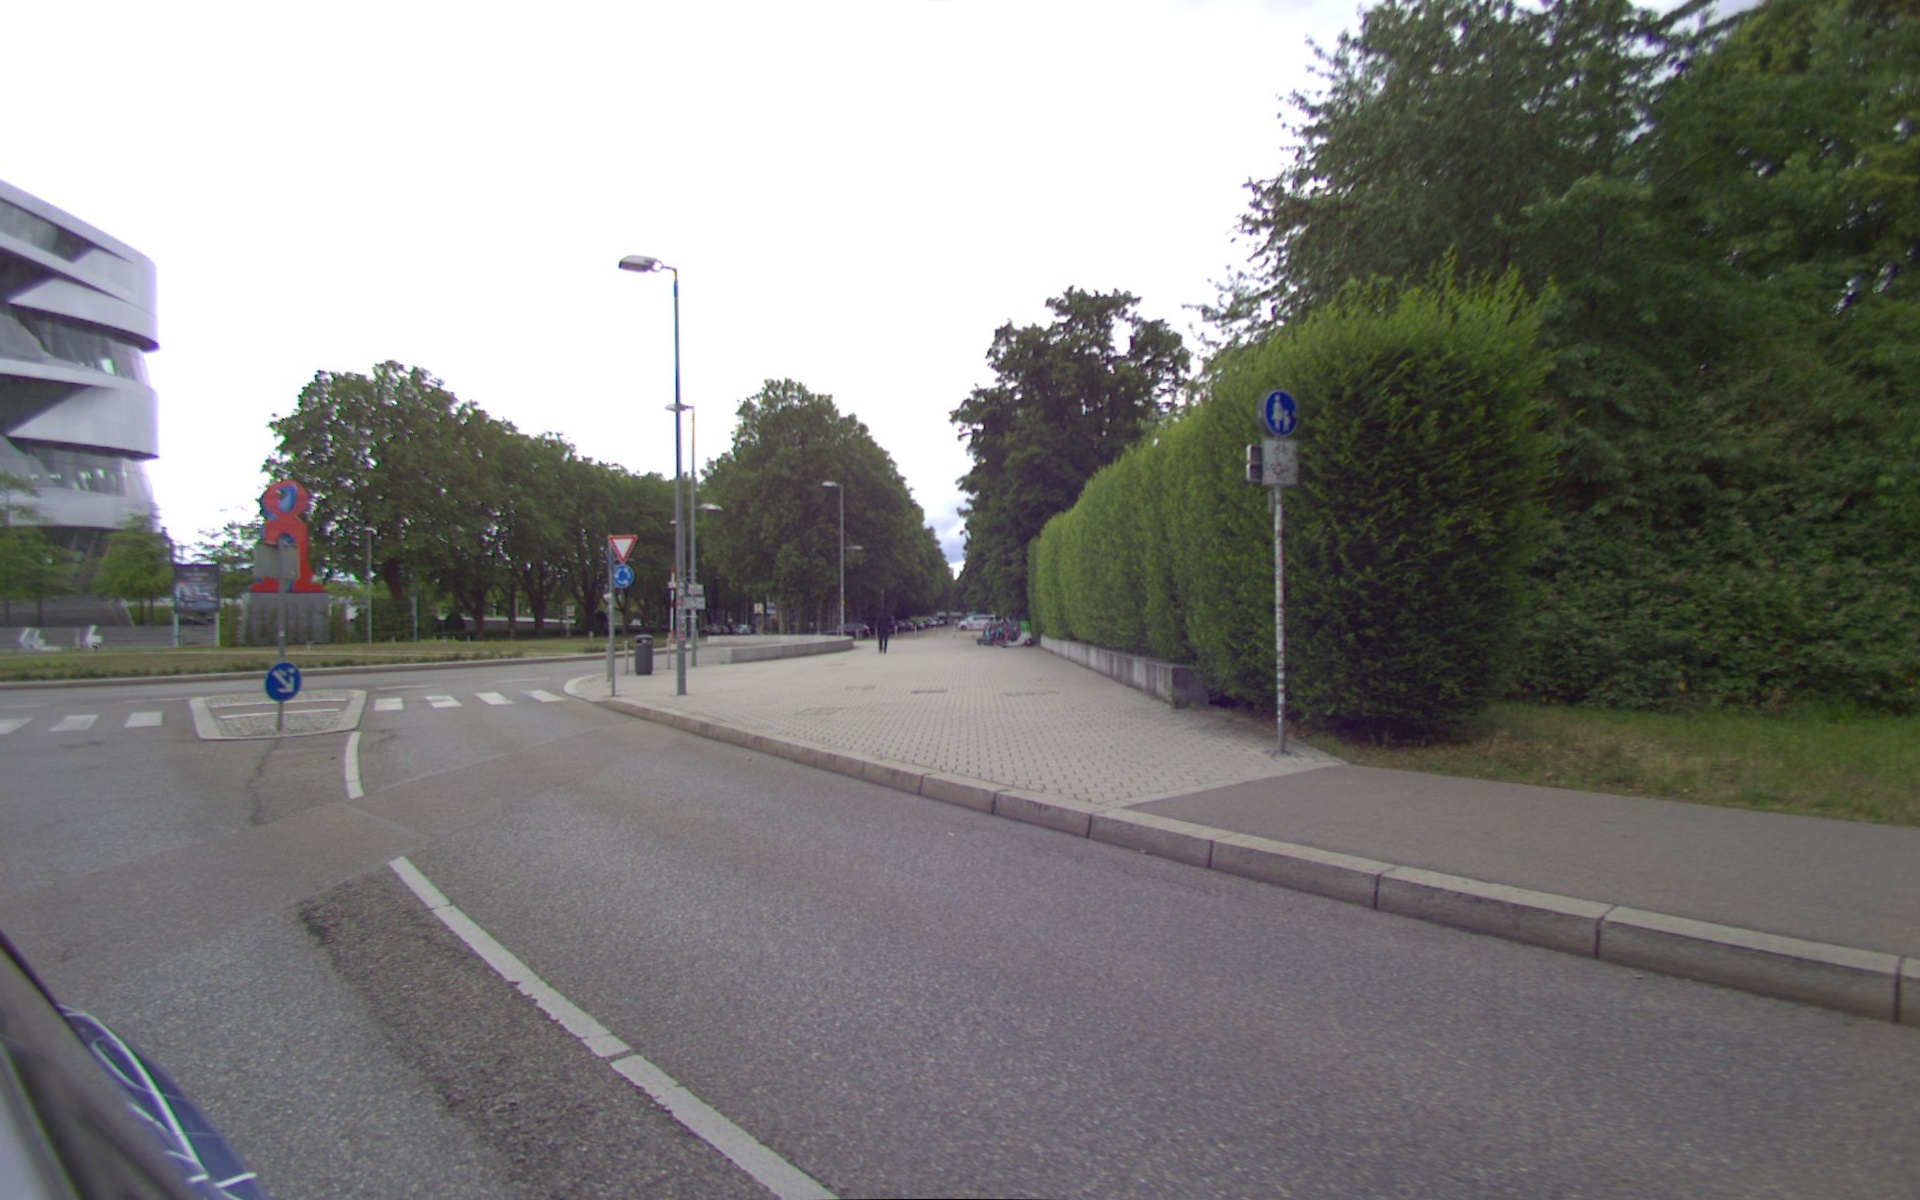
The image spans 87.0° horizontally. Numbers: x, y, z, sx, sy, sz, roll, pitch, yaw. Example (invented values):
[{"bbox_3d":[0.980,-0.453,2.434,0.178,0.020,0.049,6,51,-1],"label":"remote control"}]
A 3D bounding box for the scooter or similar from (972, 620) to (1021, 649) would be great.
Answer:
[{"bbox_3d":[1.489,1.408,41.773,1.947,1.118,0.641,-2,-3,-2],"label":"scooter or similar"}]

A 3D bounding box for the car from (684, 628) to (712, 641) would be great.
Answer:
[{"bbox_3d":[-36.153,4.778,139.567,3.400,1.697,1.688,-1,-1,-2],"label":"car"}]

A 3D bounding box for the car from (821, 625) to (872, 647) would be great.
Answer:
[{"bbox_3d":[-8.783,2.818,78.680,3.771,1.536,1.779,-2,-2,-1],"label":"car"}]

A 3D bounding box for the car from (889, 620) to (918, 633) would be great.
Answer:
[{"bbox_3d":[-8.518,4.051,152.309,4.369,1.746,1.799,-2,-2,-5],"label":"car"}]

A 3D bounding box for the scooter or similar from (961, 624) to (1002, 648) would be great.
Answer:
[{"bbox_3d":[1.063,1.783,50.139,1.947,1.118,0.641,-2,-3,-2],"label":"scooter or similar"}]

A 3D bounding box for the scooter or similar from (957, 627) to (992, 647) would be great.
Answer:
[{"bbox_3d":[0.847,2.129,58.363,1.947,1.118,0.641,-2,-3,-2],"label":"scooter or similar"}]

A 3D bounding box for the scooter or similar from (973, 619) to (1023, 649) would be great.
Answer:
[{"bbox_3d":[1.522,1.376,40.929,1.947,1.118,0.641,-2,-3,-2],"label":"scooter or similar"}]

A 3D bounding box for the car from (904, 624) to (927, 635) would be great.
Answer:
[{"bbox_3d":[-8.465,5.537,192.063,4.372,1.891,1.797,-2,-2,-2],"label":"car"}]

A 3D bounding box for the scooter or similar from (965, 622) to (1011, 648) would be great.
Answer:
[{"bbox_3d":[1.248,1.573,45.480,1.947,1.118,0.641,-2,-3,-2],"label":"scooter or similar"}]

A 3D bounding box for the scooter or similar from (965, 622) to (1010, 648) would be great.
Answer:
[{"bbox_3d":[1.241,1.606,46.249,1.947,1.118,0.641,-2,-3,-2],"label":"scooter or similar"}]

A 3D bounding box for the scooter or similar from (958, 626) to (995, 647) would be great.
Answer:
[{"bbox_3d":[0.881,2.002,55.459,1.947,1.118,0.641,-2,-3,-2],"label":"scooter or similar"}]

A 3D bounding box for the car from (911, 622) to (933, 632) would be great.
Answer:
[{"bbox_3d":[-7.862,5.600,209.195,4.369,1.830,1.799,-2,-2,-5],"label":"car"}]

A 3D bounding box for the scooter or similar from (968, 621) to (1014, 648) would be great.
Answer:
[{"bbox_3d":[1.345,1.516,44.071,1.947,1.118,0.641,-2,-3,-2],"label":"scooter or similar"}]

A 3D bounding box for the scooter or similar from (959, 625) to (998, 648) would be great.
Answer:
[{"bbox_3d":[0.963,1.865,52.287,1.947,1.118,0.641,-2,-3,-2],"label":"scooter or similar"}]

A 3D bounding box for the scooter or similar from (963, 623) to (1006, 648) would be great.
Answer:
[{"bbox_3d":[1.165,1.679,47.928,1.947,1.118,0.641,-2,-3,-2],"label":"scooter or similar"}]

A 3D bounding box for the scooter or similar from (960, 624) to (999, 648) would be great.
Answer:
[{"bbox_3d":[0.985,1.841,51.559,1.947,1.118,0.641,-2,-3,-2],"label":"scooter or similar"}]

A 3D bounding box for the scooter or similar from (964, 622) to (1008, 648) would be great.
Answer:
[{"bbox_3d":[1.213,1.638,47.057,1.947,1.118,0.641,-2,-3,-2],"label":"scooter or similar"}]

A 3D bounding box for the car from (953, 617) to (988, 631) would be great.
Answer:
[{"bbox_3d":[1.291,3.108,130.741,4.372,1.664,1.797,-2,-2,-2],"label":"car"}]

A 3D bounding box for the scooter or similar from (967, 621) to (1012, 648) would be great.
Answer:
[{"bbox_3d":[1.299,1.543,44.771,1.947,1.118,0.641,-2,-3,-2],"label":"scooter or similar"}]

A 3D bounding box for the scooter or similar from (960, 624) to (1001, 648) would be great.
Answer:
[{"bbox_3d":[1.026,1.806,50.848,1.947,1.118,0.641,-2,-3,-2],"label":"scooter or similar"}]

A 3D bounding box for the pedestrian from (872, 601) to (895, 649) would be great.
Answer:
[{"bbox_3d":[-2.961,0.979,39.227,0.782,1.821,0.865,-2,-3,0],"label":"pedestrian"}]

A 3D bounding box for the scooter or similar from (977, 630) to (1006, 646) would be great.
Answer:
[{"bbox_3d":[2.185,2.677,71.247,1.947,1.118,0.641,-2,-3,-2],"label":"scooter or similar"}]

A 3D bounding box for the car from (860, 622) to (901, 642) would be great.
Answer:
[{"bbox_3d":[-7.604,3.093,96.782,3.661,1.791,1.669,-2,-2,2],"label":"car"}]

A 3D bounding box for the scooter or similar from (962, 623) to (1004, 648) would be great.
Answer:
[{"bbox_3d":[1.105,1.721,48.783,1.947,1.118,0.641,-2,-3,-2],"label":"scooter or similar"}]

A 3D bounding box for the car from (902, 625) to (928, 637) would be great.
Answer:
[{"bbox_3d":[-7.674,5.221,172.373,4.372,1.891,1.797,-2,-2,-2],"label":"car"}]

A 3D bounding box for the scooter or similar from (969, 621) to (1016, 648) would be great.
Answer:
[{"bbox_3d":[1.378,1.478,43.308,1.947,1.118,0.641,-2,-3,-2],"label":"scooter or similar"}]

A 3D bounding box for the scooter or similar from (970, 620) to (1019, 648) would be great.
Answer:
[{"bbox_3d":[1.446,1.441,42.575,1.947,1.118,0.641,-2,-3,-2],"label":"scooter or similar"}]

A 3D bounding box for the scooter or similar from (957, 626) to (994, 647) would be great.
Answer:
[{"bbox_3d":[0.860,2.043,56.348,1.947,1.118,0.641,-2,-3,-2],"label":"scooter or similar"}]

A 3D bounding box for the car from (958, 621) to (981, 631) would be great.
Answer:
[{"bbox_3d":[1.925,5.130,199.383,4.369,1.664,1.799,-2,-2,-5],"label":"car"}]
